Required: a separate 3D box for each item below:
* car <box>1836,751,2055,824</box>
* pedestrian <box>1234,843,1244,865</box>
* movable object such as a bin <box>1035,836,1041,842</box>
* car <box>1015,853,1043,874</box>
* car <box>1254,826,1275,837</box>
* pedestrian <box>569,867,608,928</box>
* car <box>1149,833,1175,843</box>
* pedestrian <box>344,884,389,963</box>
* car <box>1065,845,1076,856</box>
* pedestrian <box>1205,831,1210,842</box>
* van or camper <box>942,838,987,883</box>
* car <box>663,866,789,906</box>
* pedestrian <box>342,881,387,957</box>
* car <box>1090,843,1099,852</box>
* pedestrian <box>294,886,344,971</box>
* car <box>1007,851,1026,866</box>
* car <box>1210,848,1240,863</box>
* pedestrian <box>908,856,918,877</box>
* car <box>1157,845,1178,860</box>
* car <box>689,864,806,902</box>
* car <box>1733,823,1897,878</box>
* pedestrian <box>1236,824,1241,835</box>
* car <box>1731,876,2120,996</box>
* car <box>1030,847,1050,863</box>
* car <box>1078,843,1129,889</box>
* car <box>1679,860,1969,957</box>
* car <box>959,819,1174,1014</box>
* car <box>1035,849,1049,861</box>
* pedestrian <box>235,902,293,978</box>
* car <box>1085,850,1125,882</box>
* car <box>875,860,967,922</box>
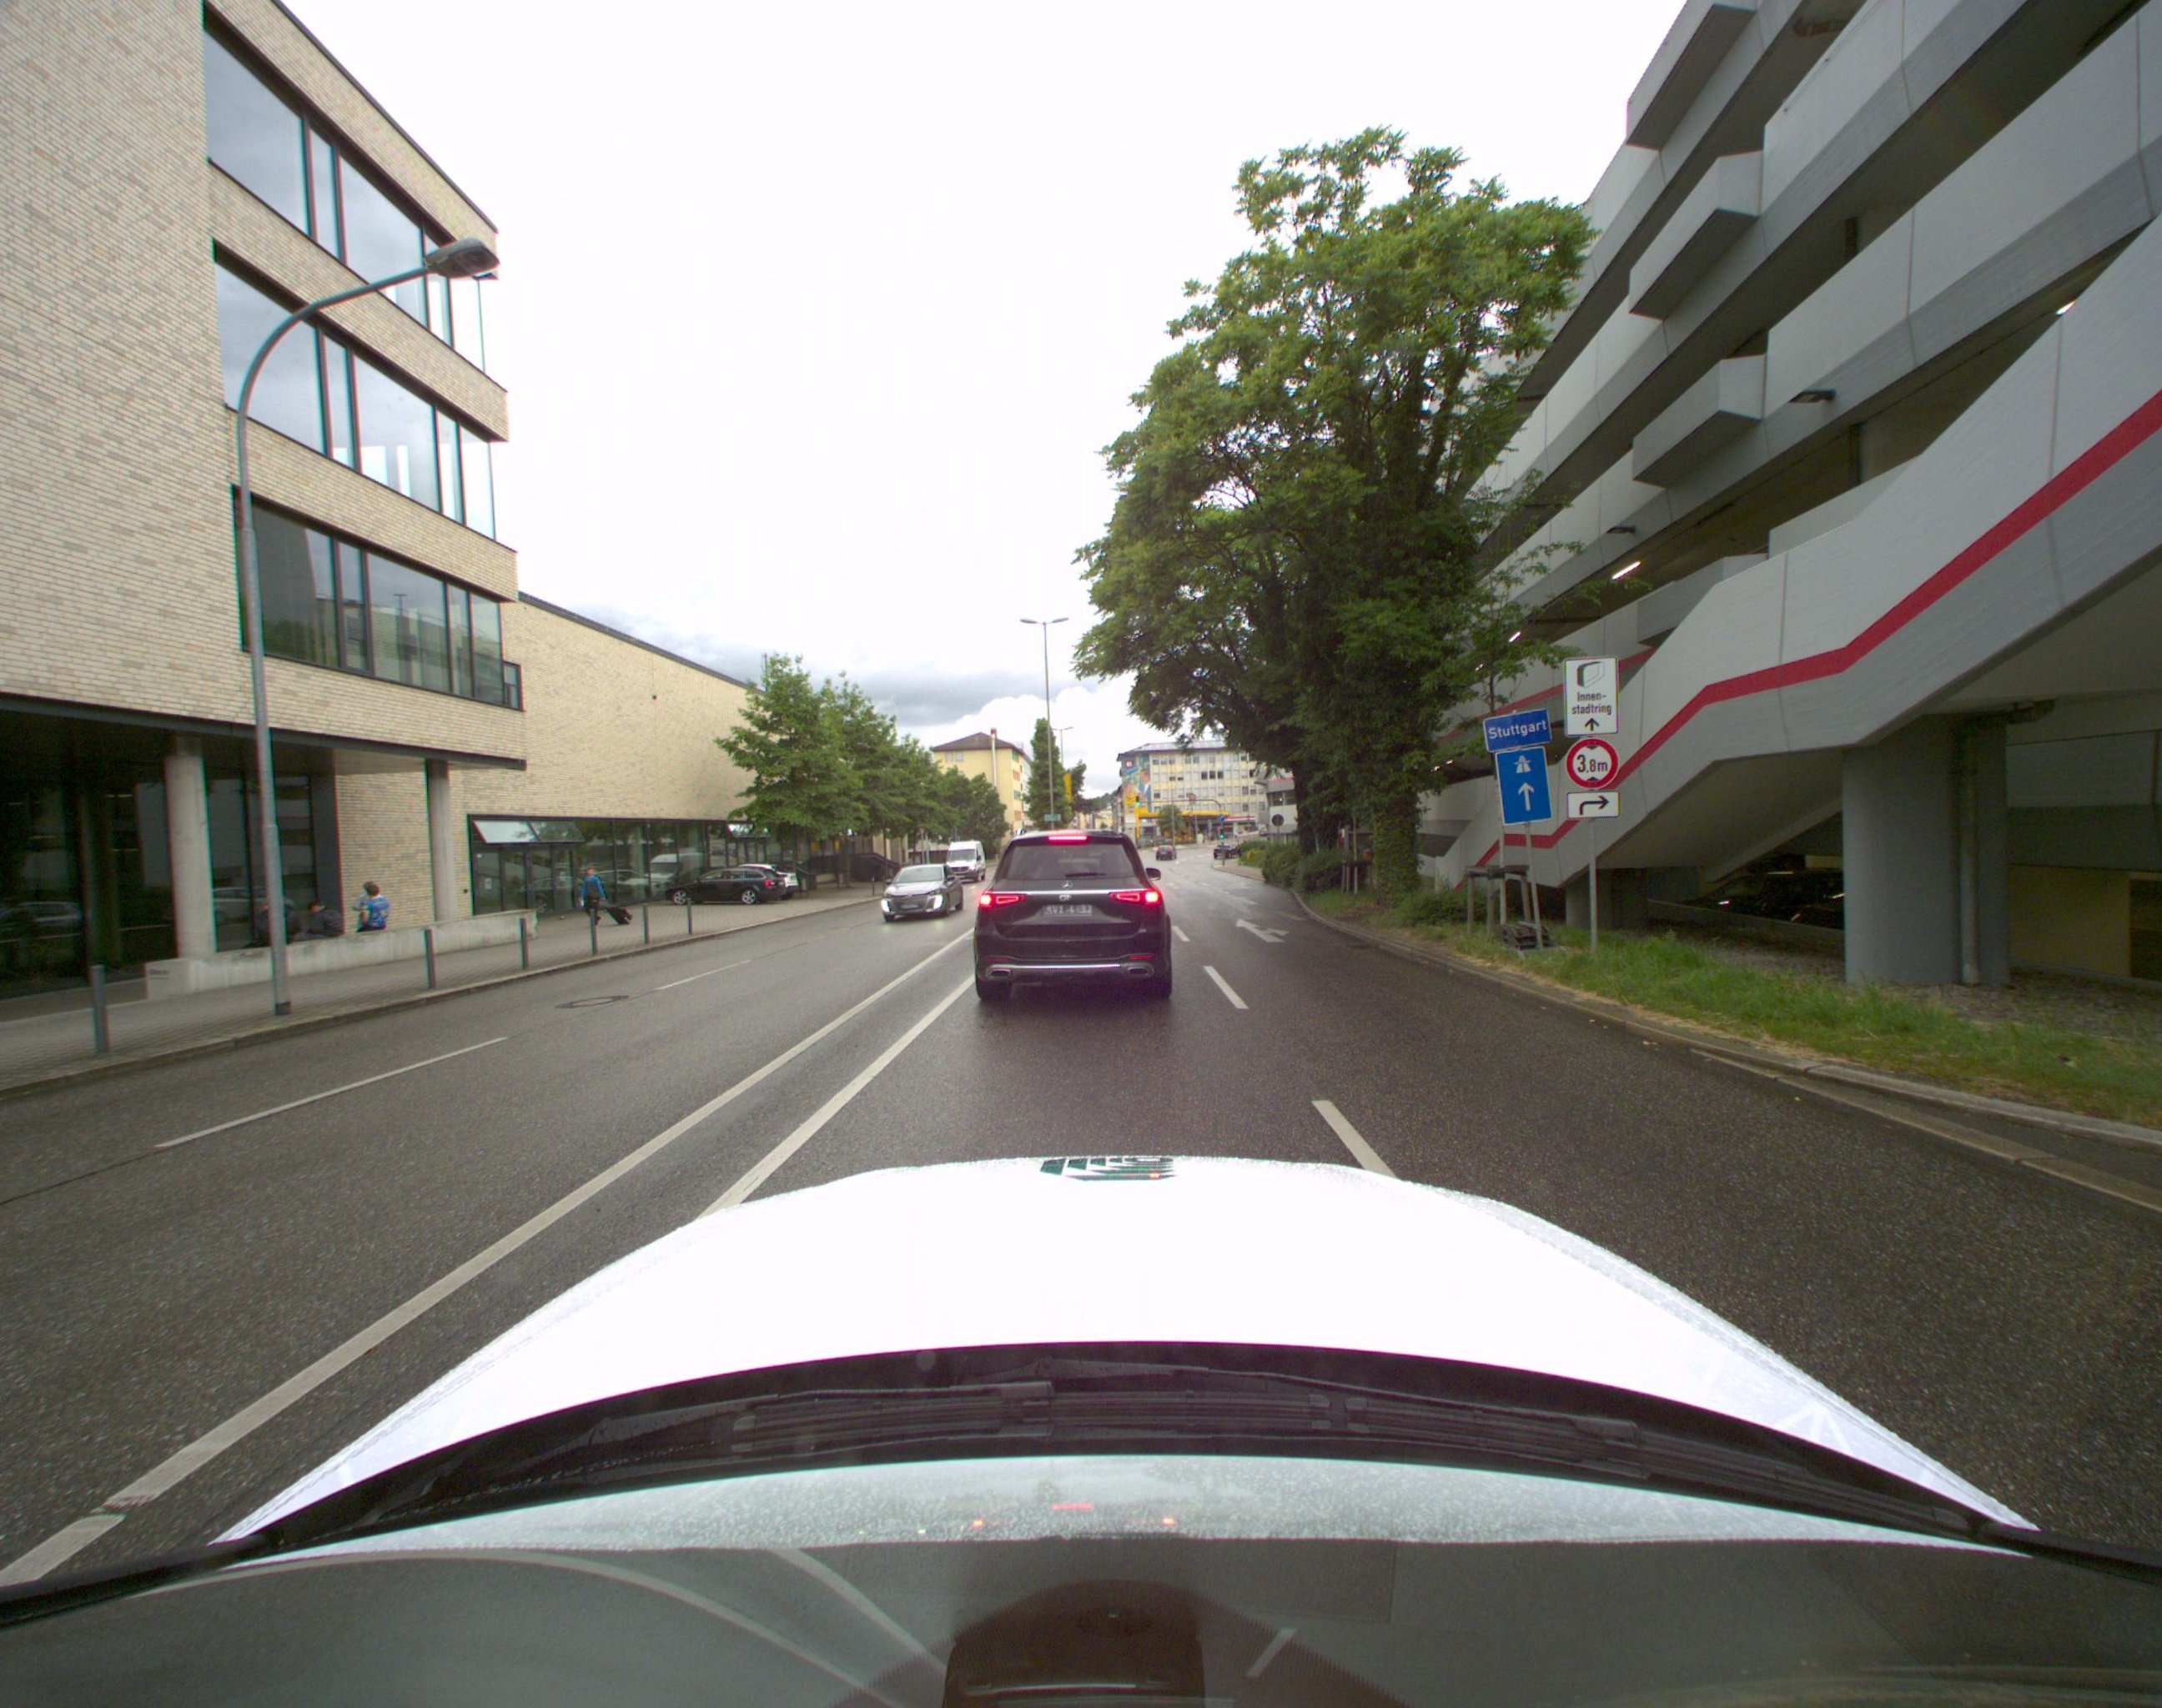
[{"bbox_3d":[24.717,-1.857,23.464,3.958,1.783,1.823,-2,0,14],"label":"car"},{"bbox_3d":[12.642,-0.004,65.189,0.639,1.710,0.474,-2,-1,38],"label":"pedestrian"},{"bbox_3d":[-7.445,-2.542,141.602,0.906,1.038,0.844,0,-1,2],"label":"movable object such as a bin"},{"bbox_3d":[-4.017,0.726,63.507,1.877,1.498,4.560,-4,0,-1],"label":"car"},{"bbox_3d":[31.168,-3.826,137.946,1.974,1.705,4.026,-2,1,35],"label":"car"},{"bbox_3d":[-13.931,1.217,23.041,0.632,1.714,0.705,0,-1,4],"label":"pedestrian"},{"bbox_3d":[12.773,-2.524,128.499,1.747,1.376,3.952,-4,1,-42],"label":"car"},{"bbox_3d":[-13.688,1.324,15.618,0.448,1.475,0.463,0,-1,-4],"label":"pedestrian"},{"bbox_3d":[-1.716,-0.563,135.615,1.862,1.839,3.819,0,-1,0],"label":"car"},{"bbox_3d":[18.655,-2.578,120.030,0.570,1.697,0.631,0,-1,3],"label":"pedestrian"},{"bbox_3d":[-7.393,0.379,52.130,2.097,2.582,5.903,-4,0,-2],"label":"van or camper"},{"bbox_3d":[-14.166,1.258,32.679,4.169,1.495,1.997,0,-1,-5],"label":"car"},{"bbox_3d":[-14.255,1.283,16.209,0.440,1.475,0.528,0,-1,-3],"label":"pedestrian"},{"bbox_3d":[3.307,-1.623,192.241,1.985,2.014,4.003,0,-1,3],"label":"car"},{"bbox_3d":[-13.532,1.310,14.470,0.448,1.475,0.463,0,-1,-4],"label":"pedestrian"},{"bbox_3d":[-6.819,0.489,86.423,1.792,1.495,3.802,0,-1,-1],"label":"car"},{"bbox_3d":[14.886,0.123,84.003,1.928,1.486,4.023,-1,-1,26],"label":"car"},{"bbox_3d":[-13.861,1.012,67.110,0.641,1.665,1.017,0,-1,-4],"label":"pedestrian"},{"bbox_3d":[8.809,-0.181,83.015,1.784,1.525,4.069,0,1,11],"label":"car"},{"bbox_3d":[-14.263,1.210,34.986,4.158,1.547,2.002,0,-1,3],"label":"car"},{"bbox_3d":[26.201,-0.125,29.214,3.958,1.783,1.823,-2,0,14],"label":"car"},{"bbox_3d":[26.424,-4.115,136.371,0.521,1.727,0.693,-2,1,28],"label":"pedestrian"},{"bbox_3d":[12.938,1.235,12.731,3.966,1.624,1.842,-1,0,6],"label":"car"},{"bbox_3d":[-4.296,0.137,85.639,1.806,1.462,4.286,-4,0,-1],"label":"car"},{"bbox_3d":[0.946,0.499,34.052,1.986,1.800,4.001,0,-1,2],"label":"car"},{"bbox_3d":[13.901,1.001,15.468,3.713,1.540,1.815,-1,3,7],"label":"car"},{"bbox_3d":[-0.072,0.594,9.570,1.986,1.800,4.001,0,-1,2],"label":"car"},{"bbox_3d":[-5.580,0.161,116.432,1.900,1.703,3.998,0,-1,-1],"label":"car"},{"bbox_3d":[-13.525,1.412,13.488,0.546,1.215,0.422,0,-1,4],"label":"pedestrian"},{"bbox_3d":[1.207,0.604,41.234,1.900,1.501,4.001,0,0,2],"label":"car"},{"bbox_3d":[-4.396,0.967,22.923,1.735,1.470,3.882,-4,0,0],"label":"car"}]
